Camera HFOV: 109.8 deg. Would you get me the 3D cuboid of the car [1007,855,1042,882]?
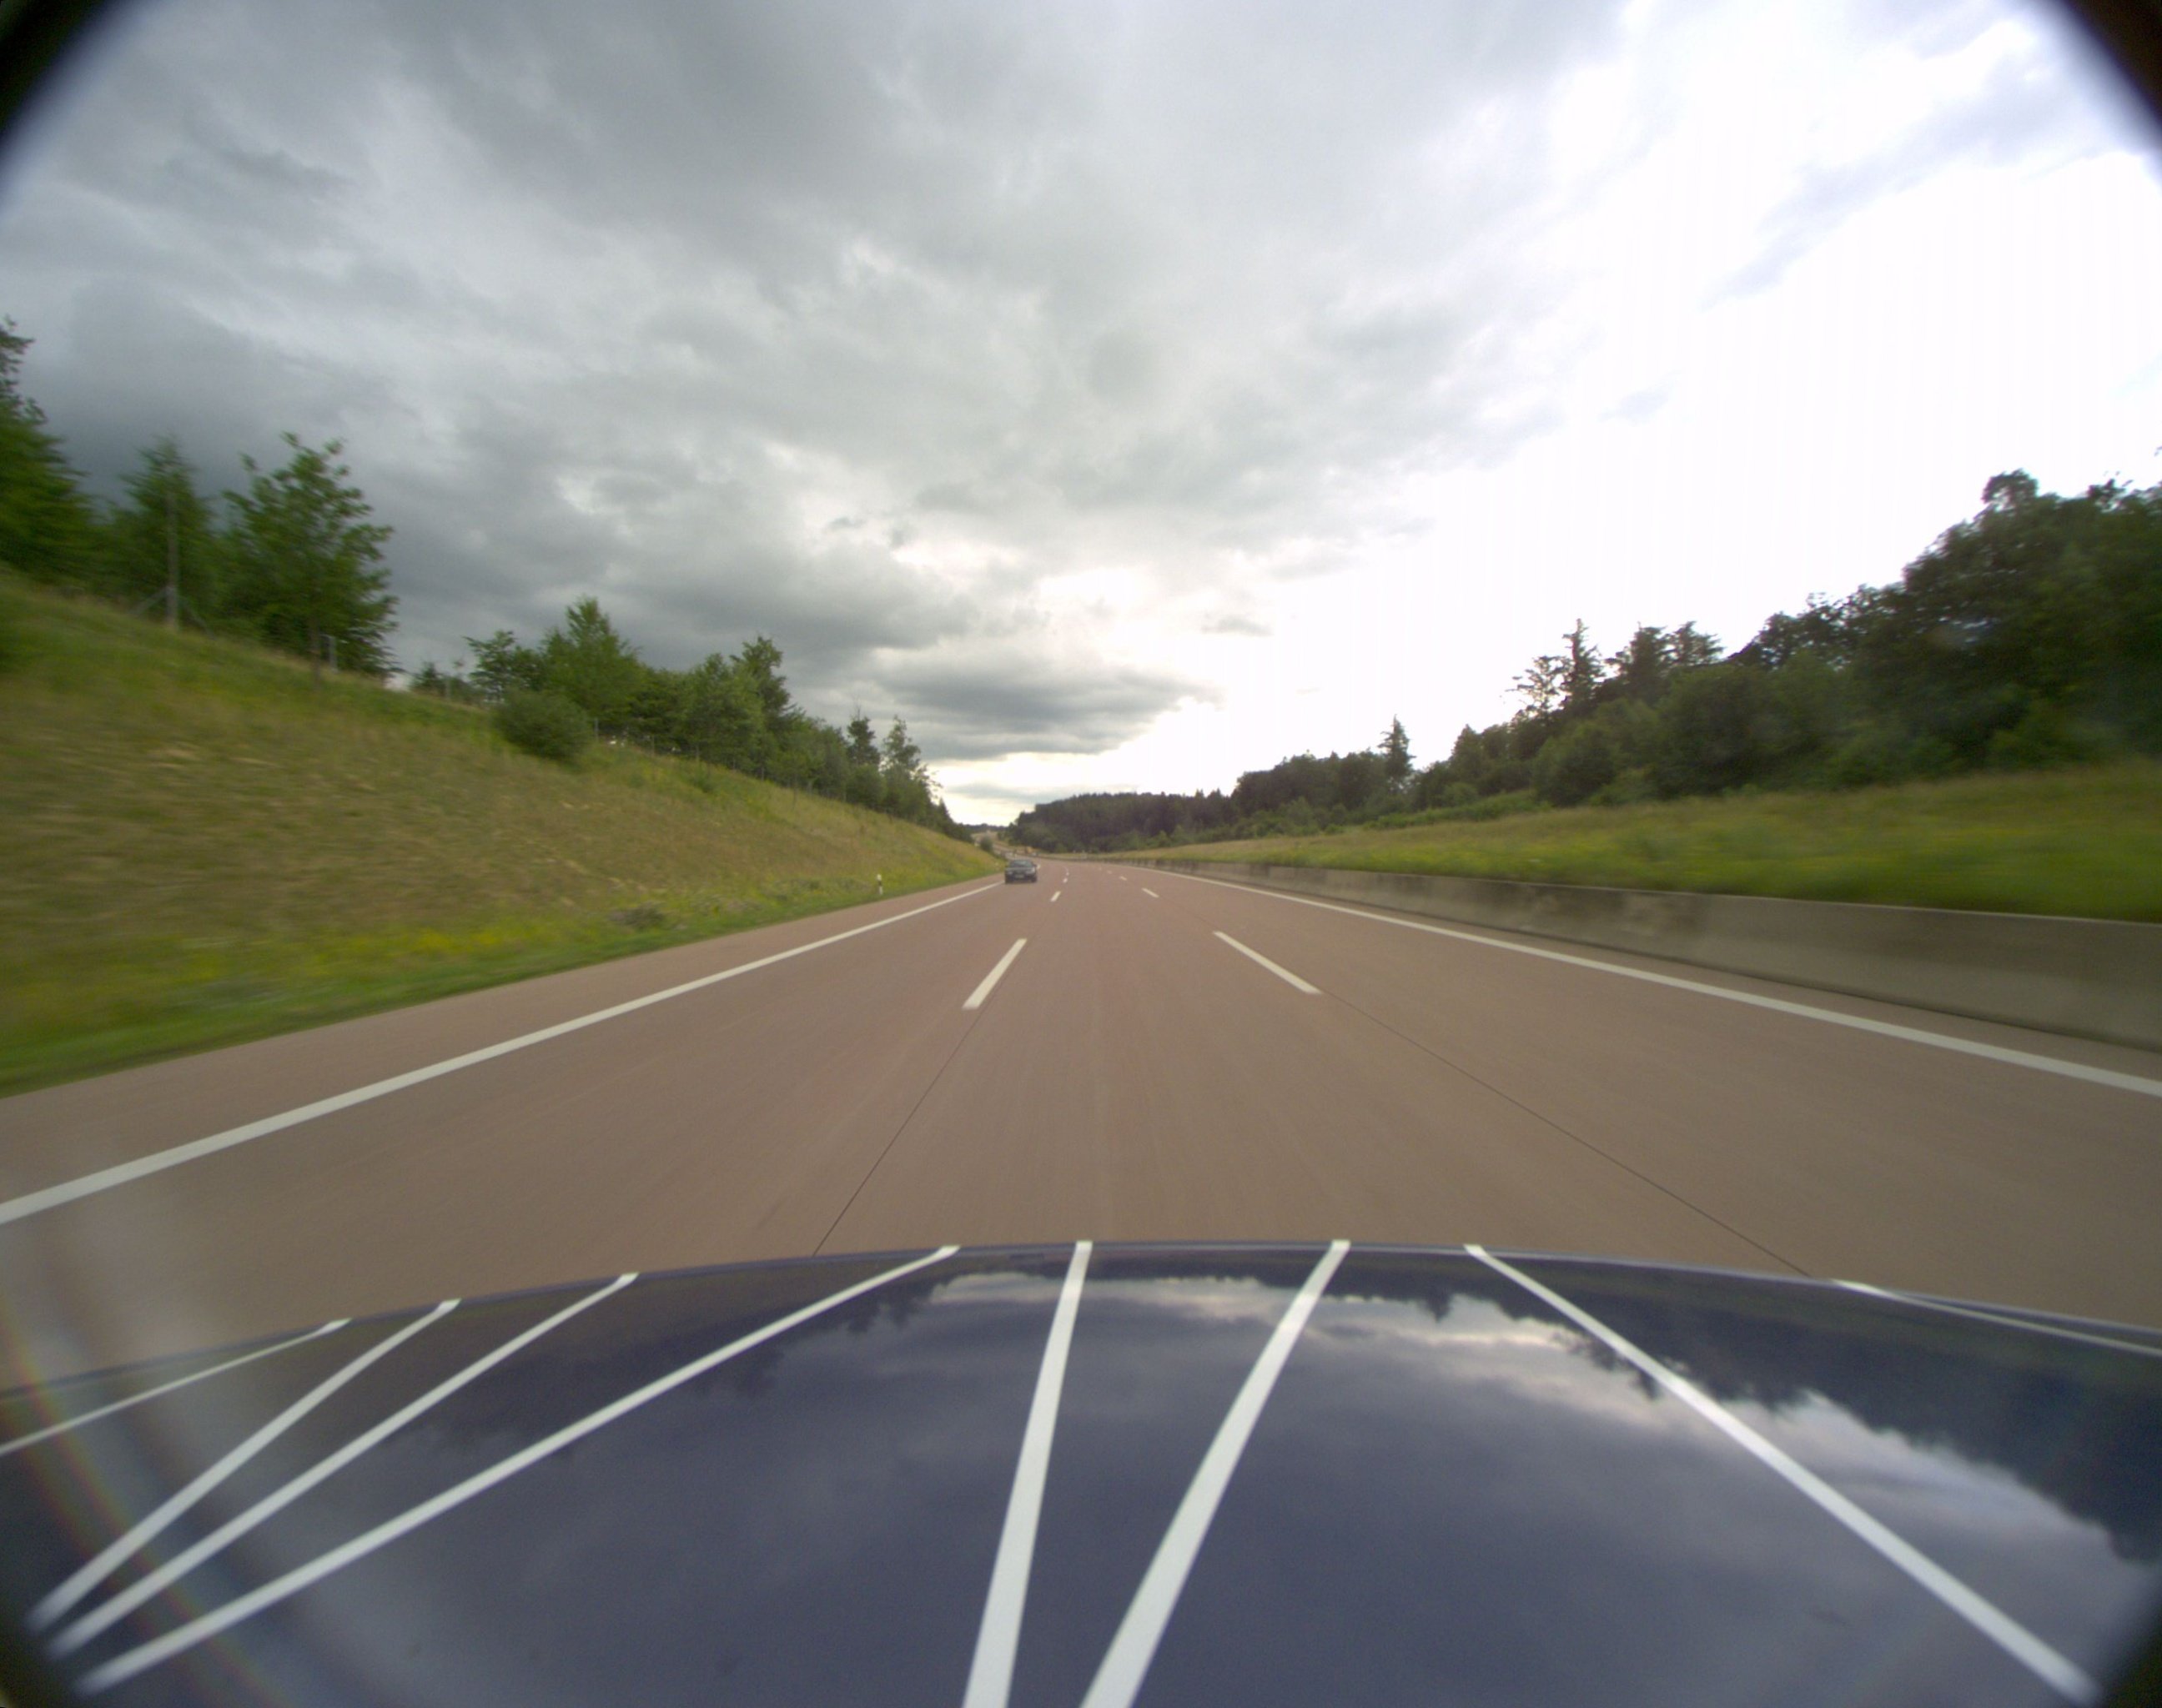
[{"bbox_3d":[-3.305,0.844,45.092,1.676,1.395,4.232,-1,1,1],"label":"car"}]
